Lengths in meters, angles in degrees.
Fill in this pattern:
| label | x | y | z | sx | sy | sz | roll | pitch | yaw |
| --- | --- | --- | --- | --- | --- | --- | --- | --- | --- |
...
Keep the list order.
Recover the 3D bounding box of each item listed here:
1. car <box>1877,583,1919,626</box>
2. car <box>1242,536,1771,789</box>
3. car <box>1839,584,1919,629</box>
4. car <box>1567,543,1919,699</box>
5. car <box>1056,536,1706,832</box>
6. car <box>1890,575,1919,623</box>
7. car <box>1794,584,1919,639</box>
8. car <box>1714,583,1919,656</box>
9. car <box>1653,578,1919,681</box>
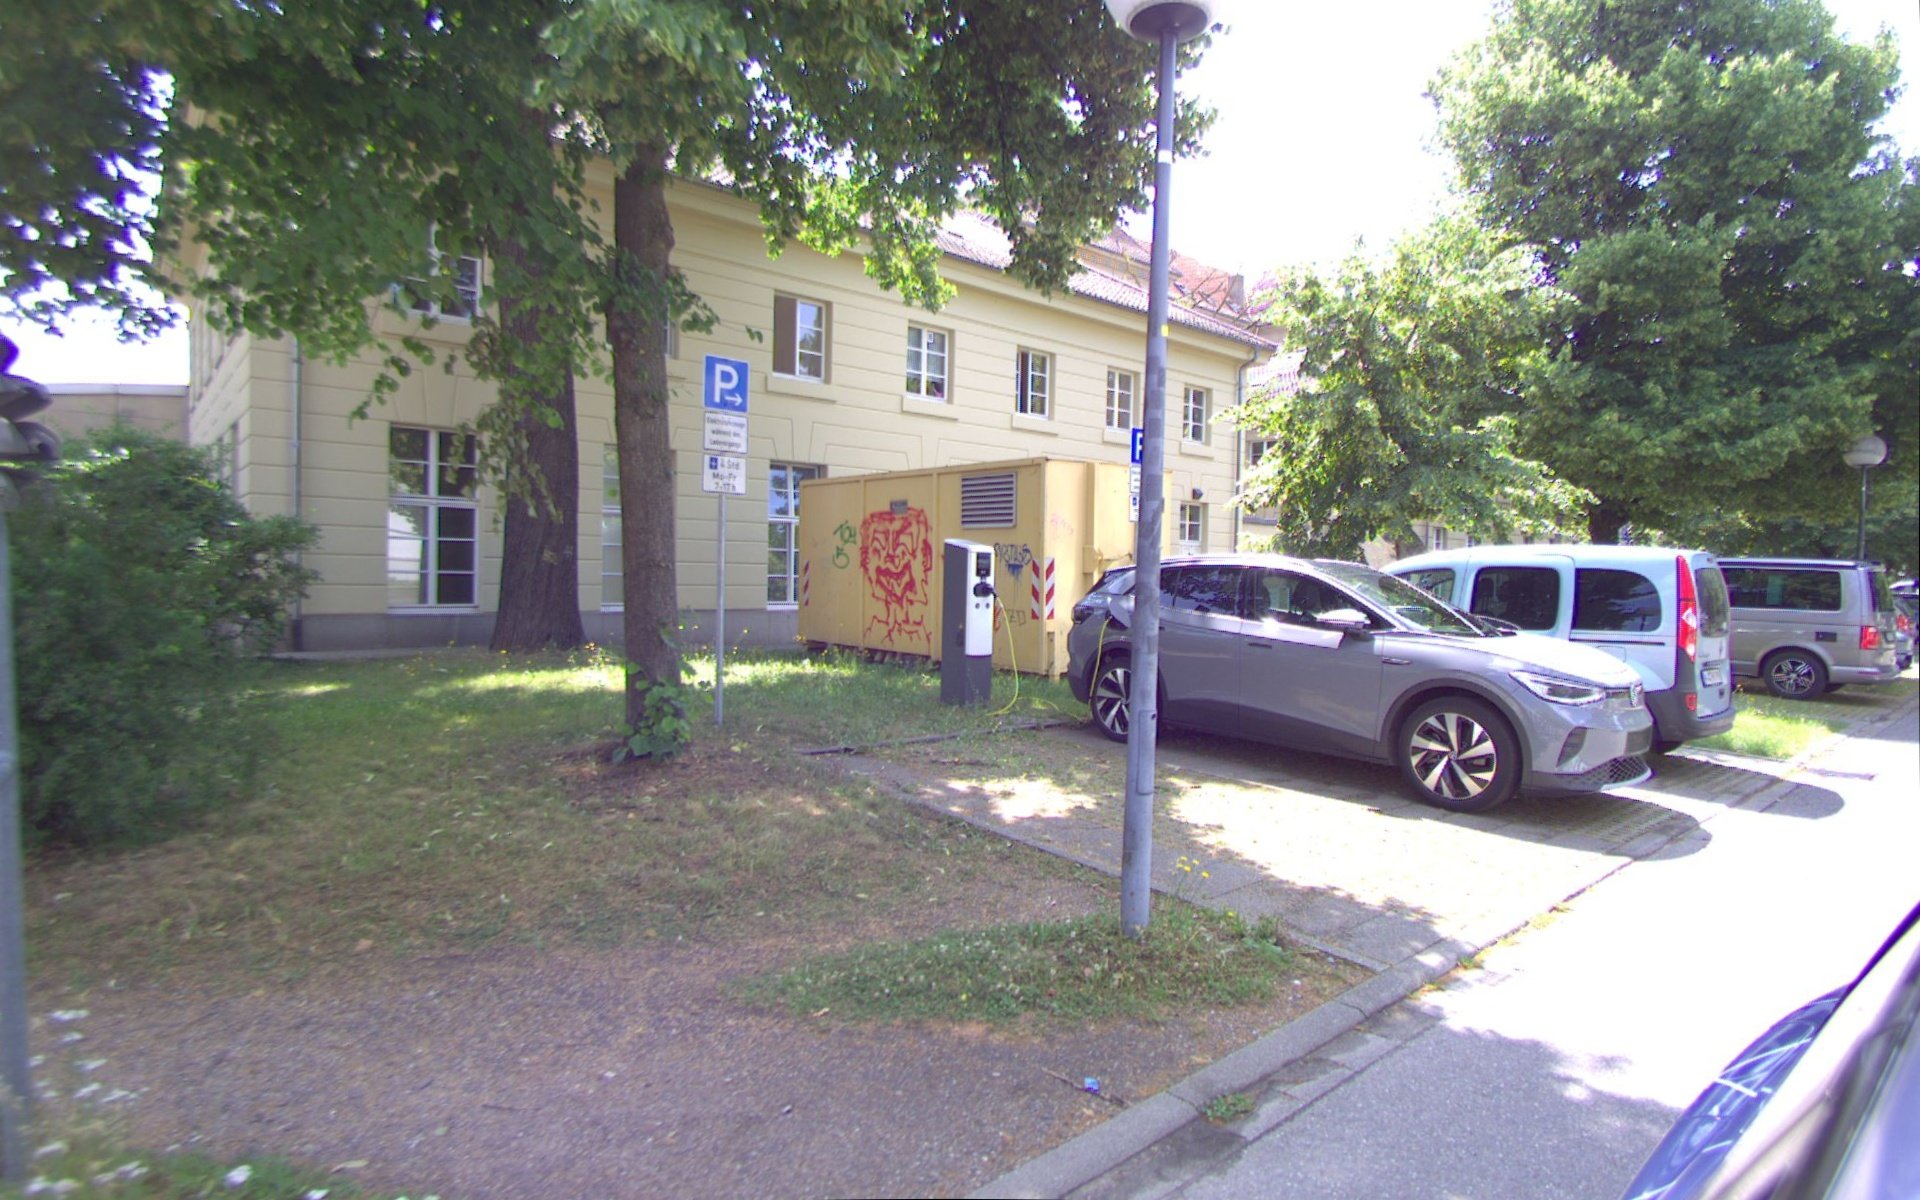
| label | x | y | z | sx | sy | sz | roll | pitch | yaw |
| --- | --- | --- | --- | --- | --- | --- | --- | --- | --- |
| car | 37.711 | 0.217 | 38.588 | 1.672 | 1.595 | 3.852 | 0 | 2 | -39 |
| car | 4.915 | 0.382 | 9.536 | 1.793 | 1.860 | 3.994 | 0 | 2 | -42 |
| car | 34.323 | 0.254 | 36.371 | 1.693 | 1.540 | 3.852 | 0 | 2 | -39 |
| car | 11.855 | 0.190 | 15.380 | 1.964 | 2.038 | 4.049 | 0 | 2 | -39 |
| car | 3.009 | 0.380 | 8.026 | 1.862 | 1.672 | 4.356 | 0 | 3 | -42 |
| car | 39.809 | 0.016 | 40.316 | 1.749 | 1.903 | 3.852 | 0 | 2 | -39 |
| car | 27.600 | 0.316 | 30.256 | 1.693 | 1.506 | 3.852 | 0 | 2 | -39 |
| car | 21.124 | 0.399 | 24.865 | 1.754 | 1.552 | 3.852 | 0 | 2 | -39 |
| car | 15.319 | 0.446 | 18.661 | 1.754 | 1.614 | 3.852 | 0 | 2 | -39 |
